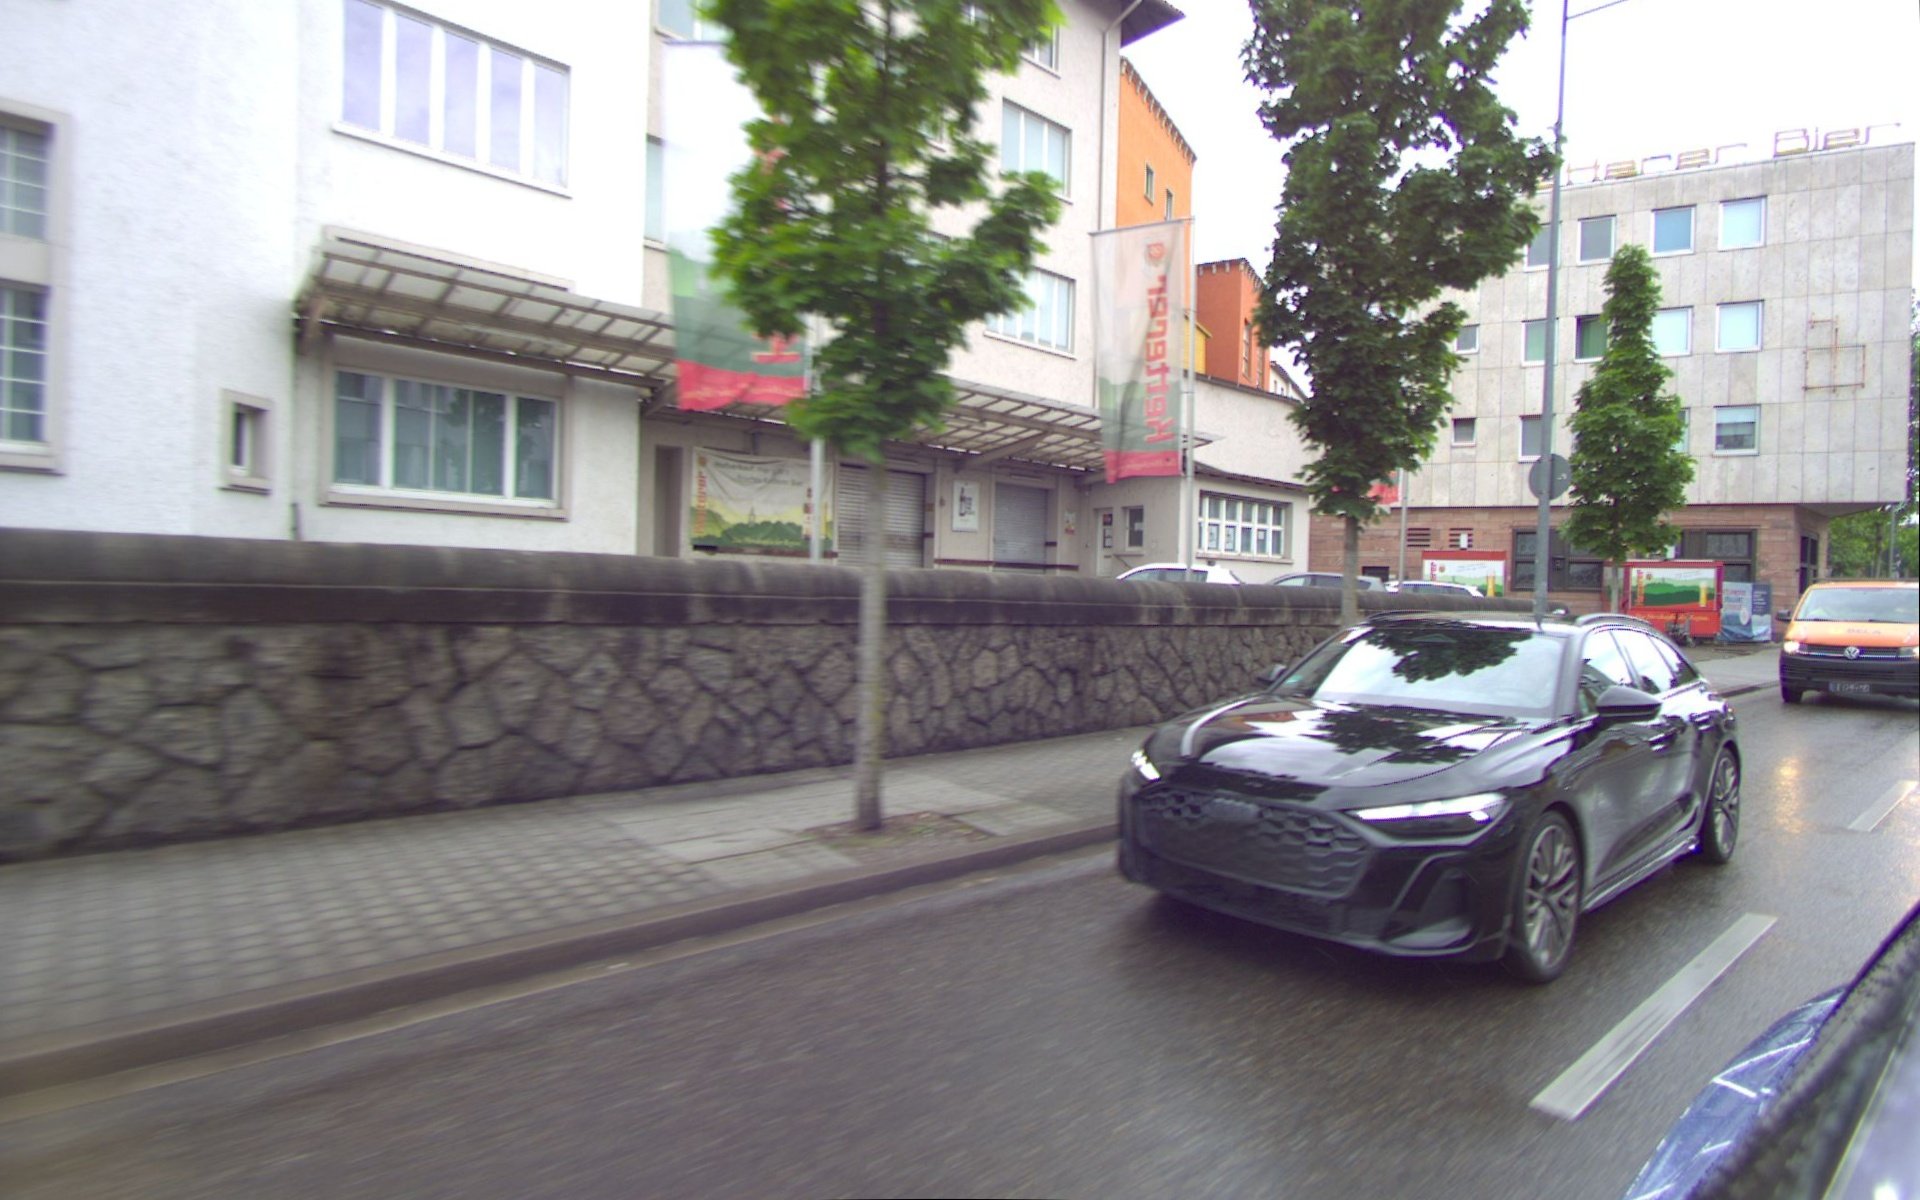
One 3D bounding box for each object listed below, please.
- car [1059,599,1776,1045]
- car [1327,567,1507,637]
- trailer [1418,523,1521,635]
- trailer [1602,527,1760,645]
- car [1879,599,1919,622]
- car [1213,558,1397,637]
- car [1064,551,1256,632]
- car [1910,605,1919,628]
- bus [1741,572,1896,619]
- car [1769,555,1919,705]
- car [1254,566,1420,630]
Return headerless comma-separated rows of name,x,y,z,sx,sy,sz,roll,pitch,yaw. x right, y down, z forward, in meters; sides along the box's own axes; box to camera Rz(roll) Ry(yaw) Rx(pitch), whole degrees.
car,2.742,0.715,5.424,4.552,1.421,1.792,0,0,-41
car,12.775,0.033,28.550,4.207,1.669,1.863,3,1,10
trailer,16.756,-0.692,33.368,2.724,3.348,6.016,2,1,27
trailer,21.912,-0.485,31.100,2.607,3.215,5.673,3,2,23
car,63.169,0.740,66.656,1.764,1.391,4.092,3,2,6
car,8.124,-0.077,24.193,3.942,1.602,1.764,3,1,14
car,4.281,-0.169,22.189,3.914,1.588,1.923,2,-1,8
car,103.718,1.889,107.360,4.906,2.348,1.978,3,1,-17
bus,69.457,-0.447,82.312,2.648,3.256,9.683,3,2,-15
car,15.134,0.427,16.565,5.446,2.115,2.105,1,0,-42
car,9.780,-0.052,26.501,3.780,1.418,1.639,3,0,11
